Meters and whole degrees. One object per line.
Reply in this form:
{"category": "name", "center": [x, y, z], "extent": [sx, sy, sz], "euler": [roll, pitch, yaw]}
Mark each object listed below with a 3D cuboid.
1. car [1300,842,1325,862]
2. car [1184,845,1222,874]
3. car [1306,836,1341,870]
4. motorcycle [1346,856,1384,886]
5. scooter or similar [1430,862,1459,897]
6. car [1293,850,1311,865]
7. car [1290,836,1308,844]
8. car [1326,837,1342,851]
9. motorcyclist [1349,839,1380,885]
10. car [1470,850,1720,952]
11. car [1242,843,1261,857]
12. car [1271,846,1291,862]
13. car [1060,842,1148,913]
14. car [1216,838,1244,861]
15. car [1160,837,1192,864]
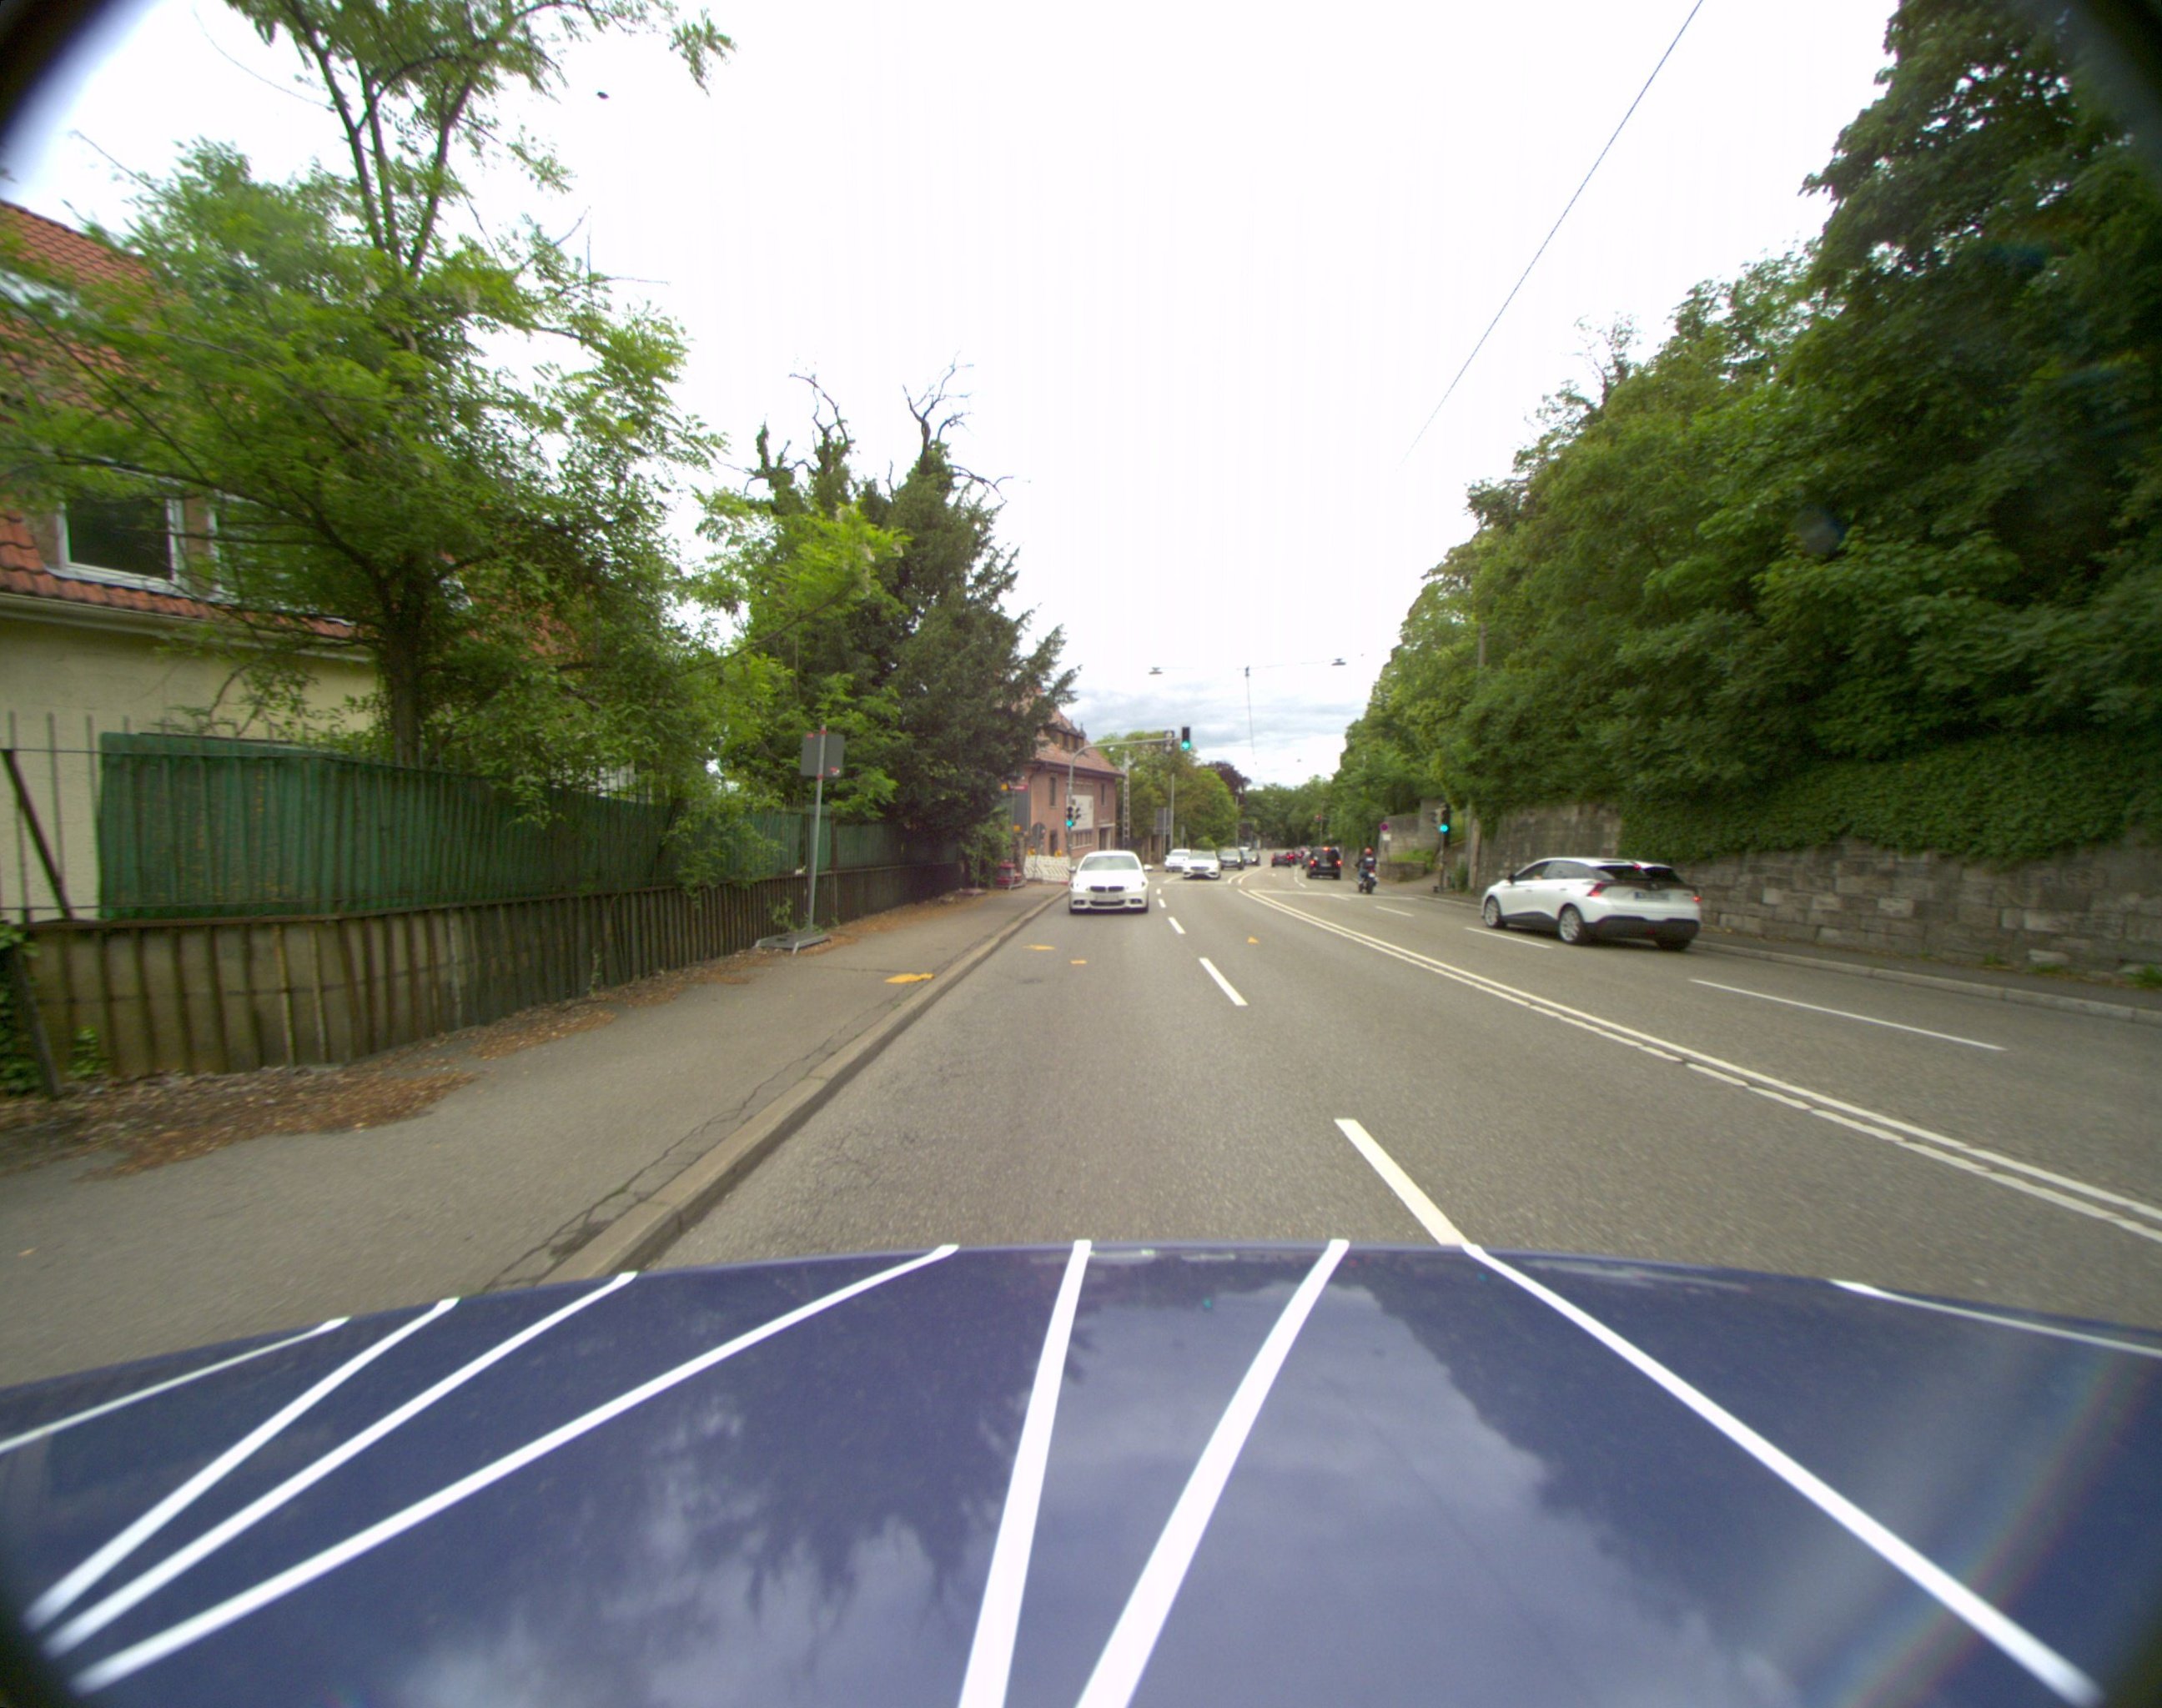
{"category": "car", "center": [21.041, -0.181, 69.105], "extent": [1.995, 1.598, 4.482], "euler": [3, 1, 17]}
{"category": "car", "center": [6.292, 0.249, 39.216], "extent": [1.801, 1.382, 3.530], "euler": [2, 0, 10]}
{"category": "car", "center": [14.053, -0.064, 44.231], "extent": [1.745, 1.835, 4.254], "euler": [1, 1, 16]}
{"category": "motorcycle", "center": [10.873, 0.644, 29.193], "extent": [0.651, 1.067, 2.308], "euler": [2, 1, 3]}
{"category": "scooter or similar", "center": [13.948, 0.976, 29.154], "extent": [1.100, 1.230, 0.433], "euler": [-4, 1, -34]}
{"category": "car", "center": [28.191, 0.424, 96.736], "extent": [1.962, 1.739, 4.885], "euler": [1, 1, 19]}
{"category": "car", "center": [42.241, -2.684, 147.280], "extent": [1.848, 1.401, 4.453], "euler": [2, 1, -3]}
{"category": "car", "center": [36.677, -1.421, 110.259], "extent": [1.895, 1.837, 4.401], "euler": [2, 1, 16]}
{"category": "motorcyclist", "center": [10.890, 0.300, 29.244], "extent": [0.650, 1.695, 1.338], "euler": [2, 1, 3]}
{"category": "car", "center": [8.994, 0.713, 13.795], "extent": [1.786, 1.458, 4.101], "euler": [3, 1, 2]}
{"category": "car", "center": [17.422, -0.461, 77.677], "extent": [1.833, 1.369, 4.003], "euler": [1, 1, 11]}
{"category": "car", "center": [19.473, -0.024, 74.090], "extent": [1.757, 1.557, 3.683], "euler": [1, 1, 14]}
{"category": "car", "center": [0.648, 0.462, 18.479], "extent": [1.822, 1.463, 4.785], "euler": [1, 1, 4]}
{"category": "car", "center": [11.608, -0.345, 58.931], "extent": [1.956, 1.730, 4.004], "euler": [1, 1, 13]}
{"category": "car", "center": [6.664, -0.236, 53.026], "extent": [1.956, 1.761, 4.003], "euler": [1, 1, 10]}
